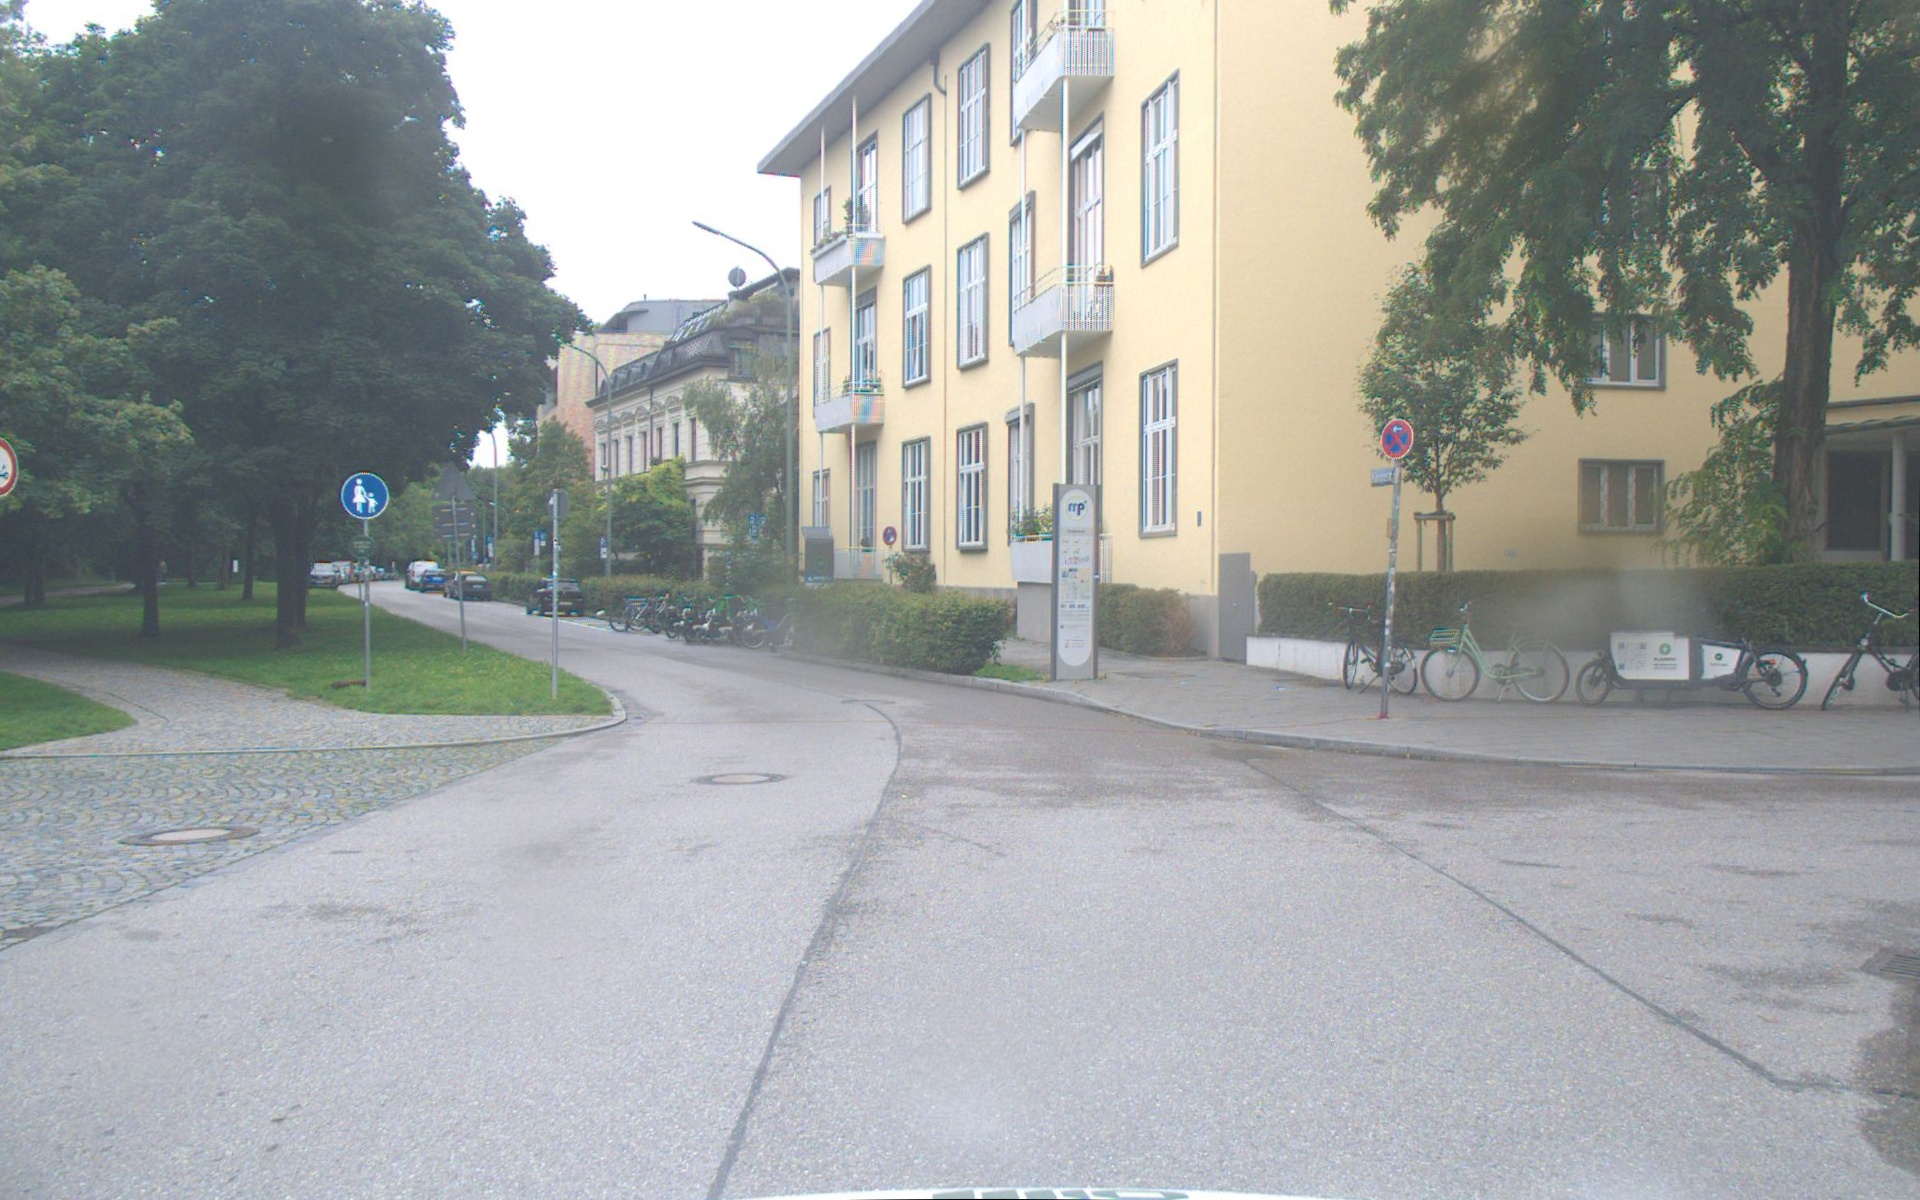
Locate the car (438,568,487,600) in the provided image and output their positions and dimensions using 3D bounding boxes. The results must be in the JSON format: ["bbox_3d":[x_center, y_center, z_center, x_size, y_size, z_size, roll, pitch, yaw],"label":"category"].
[{"bbox_3d":[-27.956,-0.887,92.890,2.147,1.686,4.473,-1,1,-23],"label":"car"}]

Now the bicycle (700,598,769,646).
[{"bbox_3d":[-5.570,0.529,40.939,0.565,1.104,1.928,-1,1,34],"label":"bicycle"}]

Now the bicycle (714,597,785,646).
[{"bbox_3d":[-5.118,0.516,40.349,0.565,1.104,1.928,-1,1,34],"label":"bicycle"}]

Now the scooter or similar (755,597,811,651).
[{"bbox_3d":[-3.934,0.527,36.780,0.486,1.128,1.407,-1,1,30],"label":"scooter or similar"}]

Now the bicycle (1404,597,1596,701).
[{"bbox_3d":[6.285,0.540,19.366,0.604,1.136,2.186,0,1,-39],"label":"bicycle"}]

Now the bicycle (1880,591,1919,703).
[{"bbox_3d":[10.759,0.486,17.494,1.698,1.170,0.611,0,0,7],"label":"bicycle"}]

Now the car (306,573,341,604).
[{"bbox_3d":[-40.011,-0.721,103.901,1.966,1.870,3.972,-1,1,-23],"label":"car"}]

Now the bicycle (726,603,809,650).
[{"bbox_3d":[-4.430,0.602,38.104,1.800,1.023,0.573,-2,1,-26],"label":"bicycle"}]

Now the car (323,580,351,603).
[{"bbox_3d":[-51.011,-0.701,135.423,1.966,1.870,3.972,-1,1,-23],"label":"car"}]

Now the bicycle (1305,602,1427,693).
[{"bbox_3d":[5.282,0.590,21.670,0.598,1.091,2.209,-1,1,-14],"label":"bicycle"}]

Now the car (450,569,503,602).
[{"bbox_3d":[-25.562,-0.755,87.423,2.147,1.686,4.473,-1,1,-23],"label":"car"}]

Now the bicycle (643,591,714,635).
[{"bbox_3d":[-7.523,0.345,44.263,0.747,1.104,2.139,-1,1,26],"label":"bicycle"}]

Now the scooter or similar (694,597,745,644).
[{"bbox_3d":[-6.008,0.502,41.324,0.486,1.107,1.407,-1,1,30],"label":"scooter or similar"}]

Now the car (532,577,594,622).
[{"bbox_3d":[-15.454,-0.036,64.245,1.836,1.662,4.258,-2,1,-20],"label":"car"}]

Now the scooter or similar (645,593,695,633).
[{"bbox_3d":[-8.475,0.380,48.387,1.377,1.107,0.596,-1,1,-5],"label":"scooter or similar"}]

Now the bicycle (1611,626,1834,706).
[{"bbox_3d":[8.218,0.697,17.916,2.165,0.792,0.610,0,0,23],"label":"bicycle"}]

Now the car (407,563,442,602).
[{"bbox_3d":[-37.249,-1.241,114.947,1.850,2.613,4.897,-1,1,-23],"label":"car"}]

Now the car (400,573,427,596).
[{"bbox_3d":[-41.496,-1.180,125.573,1.622,1.681,4.255,0,1,-22],"label":"car"}]

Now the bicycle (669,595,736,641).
[{"bbox_3d":[-6.485,0.447,41.696,0.624,1.104,1.984,-1,1,26],"label":"bicycle"}]

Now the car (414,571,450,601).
[{"bbox_3d":[-33.901,-0.916,106.185,1.850,1.847,3.972,-1,1,-23],"label":"car"}]

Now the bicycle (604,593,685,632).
[{"bbox_3d":[-9.543,0.374,50.132,2.305,1.104,0.686,-2,1,-28],"label":"bicycle"}]

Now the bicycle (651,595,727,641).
[{"bbox_3d":[-6.946,0.444,42.454,0.682,1.104,2.337,-1,1,26],"label":"bicycle"}]
